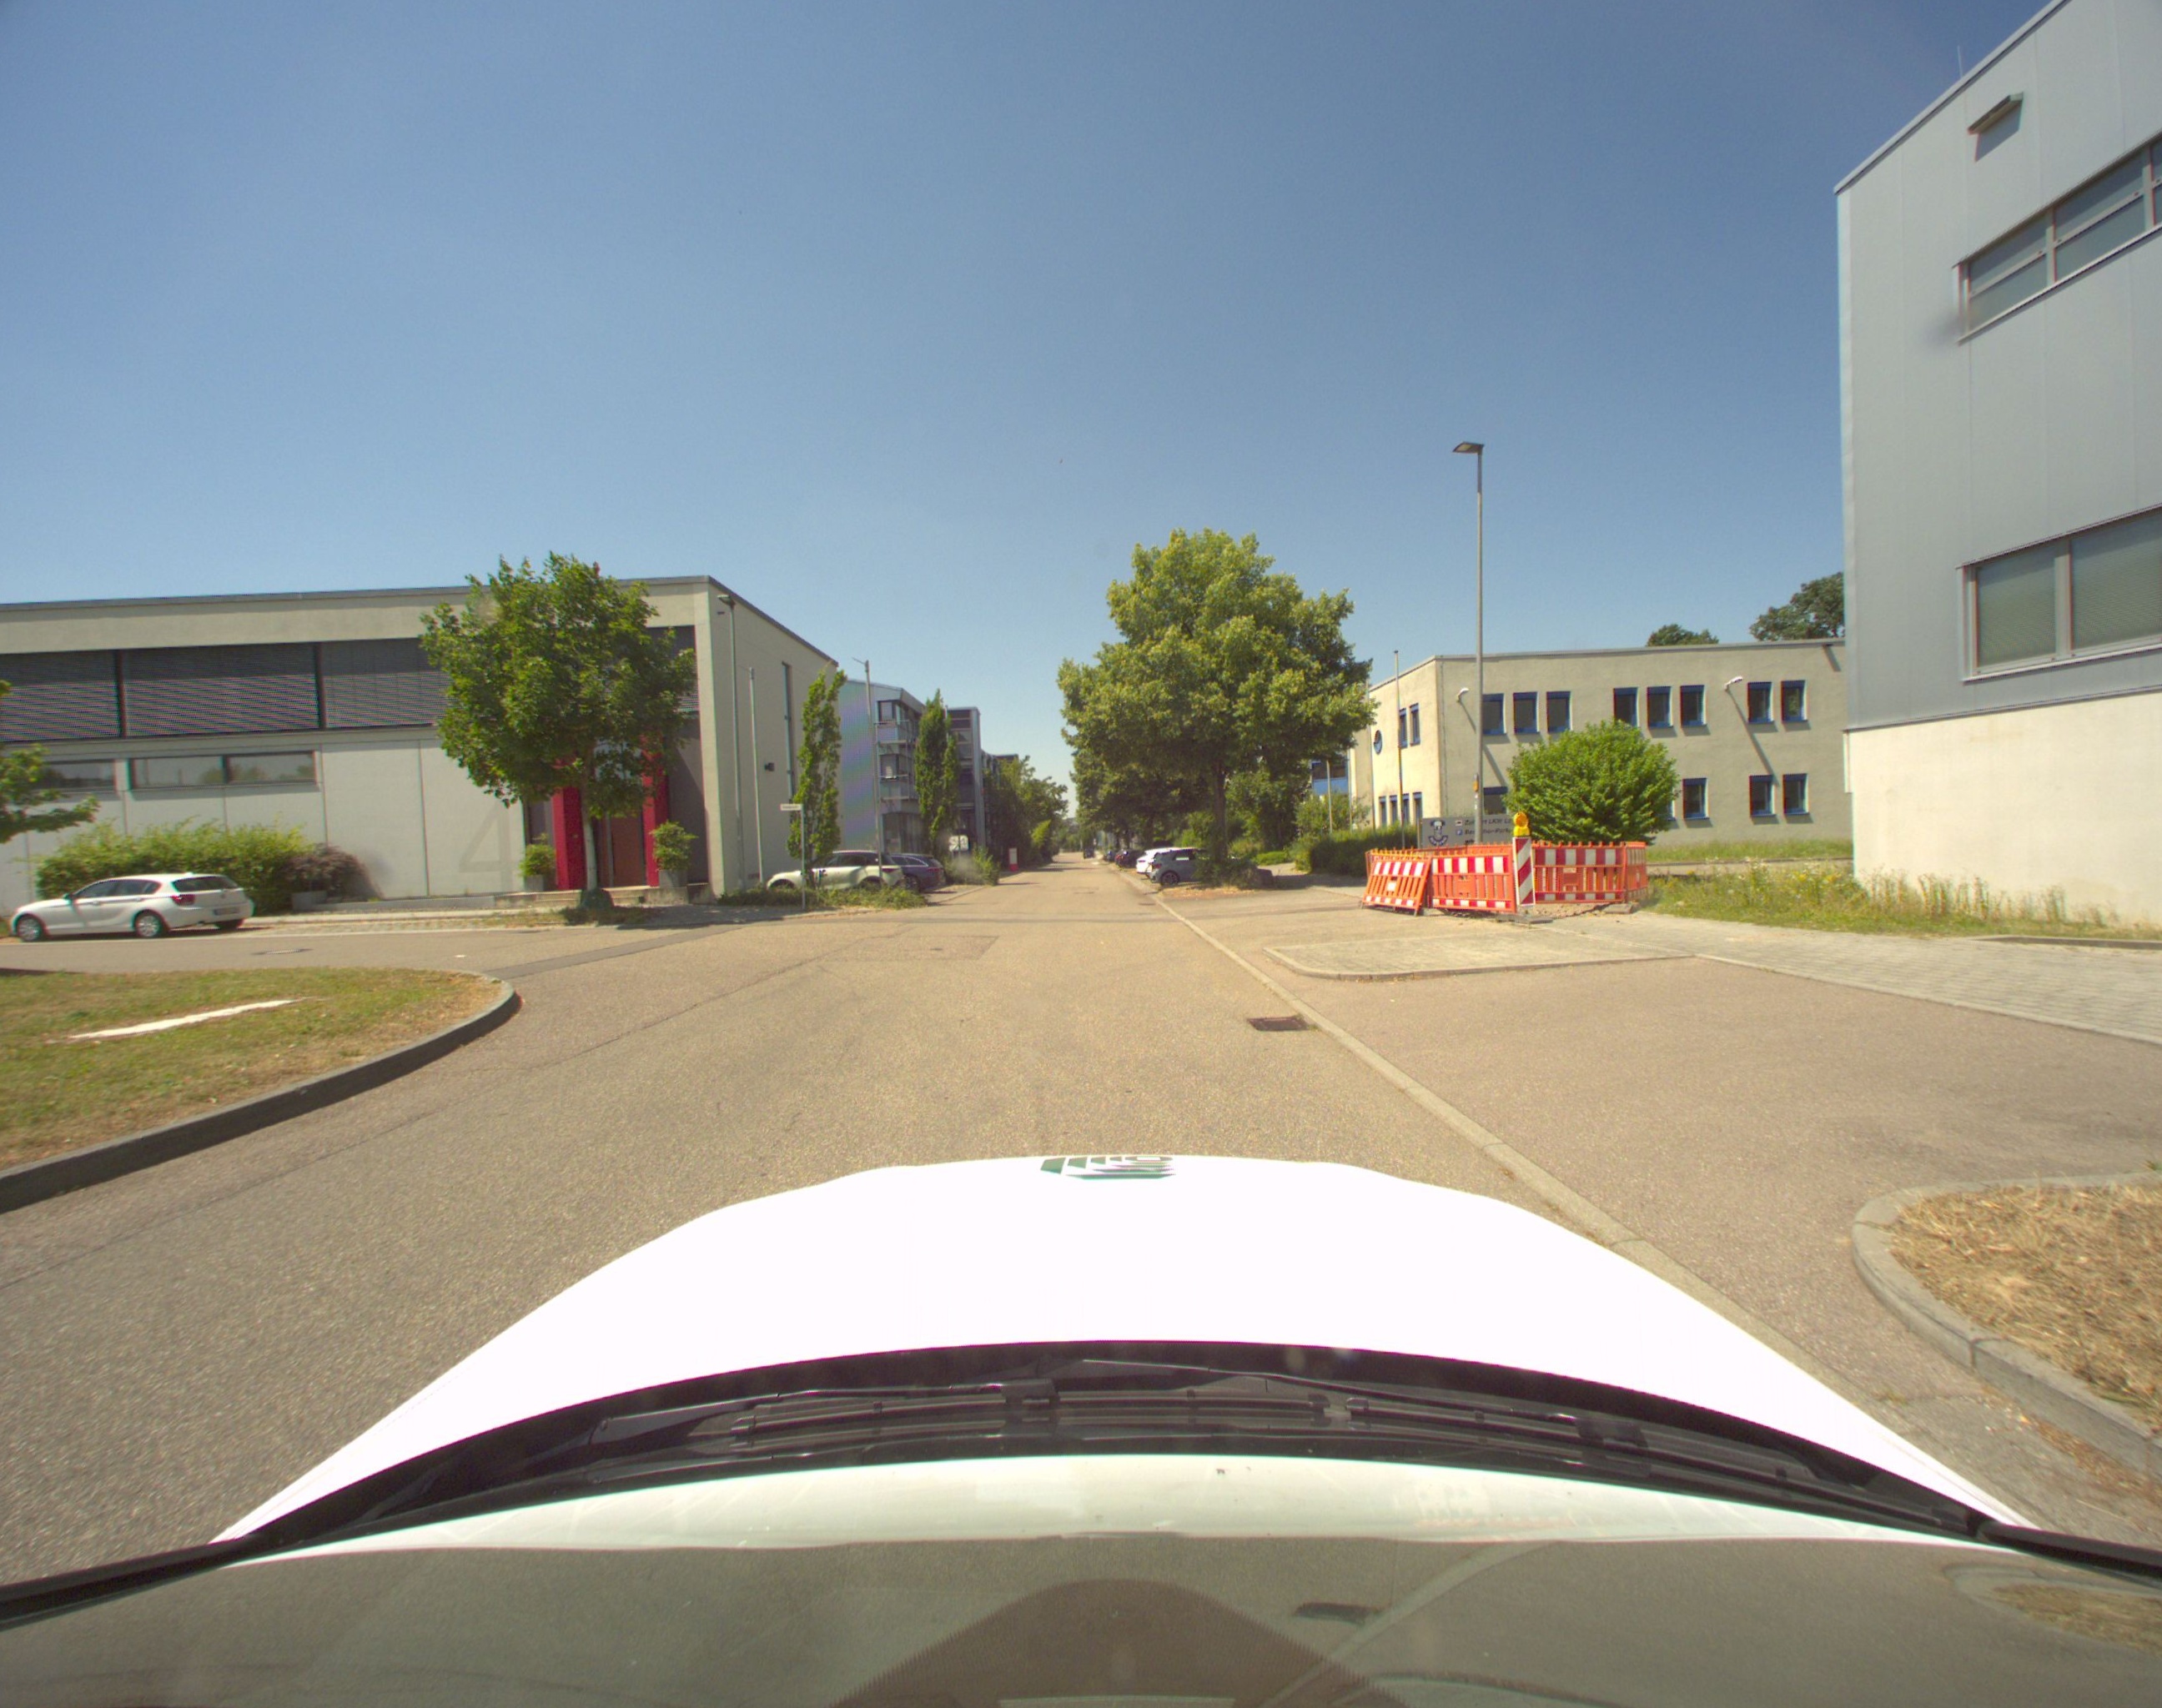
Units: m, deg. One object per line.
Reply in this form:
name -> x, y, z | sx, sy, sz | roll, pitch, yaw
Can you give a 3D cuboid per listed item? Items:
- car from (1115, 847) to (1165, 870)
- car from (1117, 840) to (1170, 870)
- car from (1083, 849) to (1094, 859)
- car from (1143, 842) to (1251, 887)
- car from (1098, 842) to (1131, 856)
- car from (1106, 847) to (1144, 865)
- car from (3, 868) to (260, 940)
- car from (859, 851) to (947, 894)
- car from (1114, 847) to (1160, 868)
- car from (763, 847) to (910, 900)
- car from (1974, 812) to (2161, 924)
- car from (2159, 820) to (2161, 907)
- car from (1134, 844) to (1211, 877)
car -> 4.510, 0.328, 62.732 | 3.710, 1.627, 1.814 | -1, 0, 0
car -> 4.536, 0.089, 59.522 | 3.710, 2.110, 1.814 | -1, 0, 0
car -> 1.316, 0.035, 141.510 | 1.755, 1.755, 3.945 | -1, 0, 1
car -> 4.314, 0.388, 30.580 | 3.672, 1.354, 1.643 | -4, 0, -4
car -> 4.193, -0.621, 102.141 | 3.928, 1.577, 1.763 | -2, 3, -8
car -> 4.860, 0.233, 90.103 | 3.928, 1.834, 1.763 | -2, 3, -8
car -> -22.161, 1.140, 19.125 | 3.986, 1.408, 1.658 | -1, 3, 1
car -> -6.571, 0.671, 30.232 | 3.054, 1.478, 1.290 | -1, 0, -7
car -> 4.661, 0.287, 68.001 | 3.710, 1.627, 1.814 | -1, 0, 0
car -> -7.531, 0.596, 25.381 | 4.036, 1.495, 1.727 | -1, 0, -3
car -> 15.949, 0.180, 11.775 | 1.818, 1.452, 4.005 | -3, 3, 3
car -> 19.029, 0.144, 11.704 | 1.874, 1.477, 4.003 | -1, 0, 3
car -> 4.494, 0.304, 40.291 | 3.510, 1.354, 1.536 | -4, 0, -4
